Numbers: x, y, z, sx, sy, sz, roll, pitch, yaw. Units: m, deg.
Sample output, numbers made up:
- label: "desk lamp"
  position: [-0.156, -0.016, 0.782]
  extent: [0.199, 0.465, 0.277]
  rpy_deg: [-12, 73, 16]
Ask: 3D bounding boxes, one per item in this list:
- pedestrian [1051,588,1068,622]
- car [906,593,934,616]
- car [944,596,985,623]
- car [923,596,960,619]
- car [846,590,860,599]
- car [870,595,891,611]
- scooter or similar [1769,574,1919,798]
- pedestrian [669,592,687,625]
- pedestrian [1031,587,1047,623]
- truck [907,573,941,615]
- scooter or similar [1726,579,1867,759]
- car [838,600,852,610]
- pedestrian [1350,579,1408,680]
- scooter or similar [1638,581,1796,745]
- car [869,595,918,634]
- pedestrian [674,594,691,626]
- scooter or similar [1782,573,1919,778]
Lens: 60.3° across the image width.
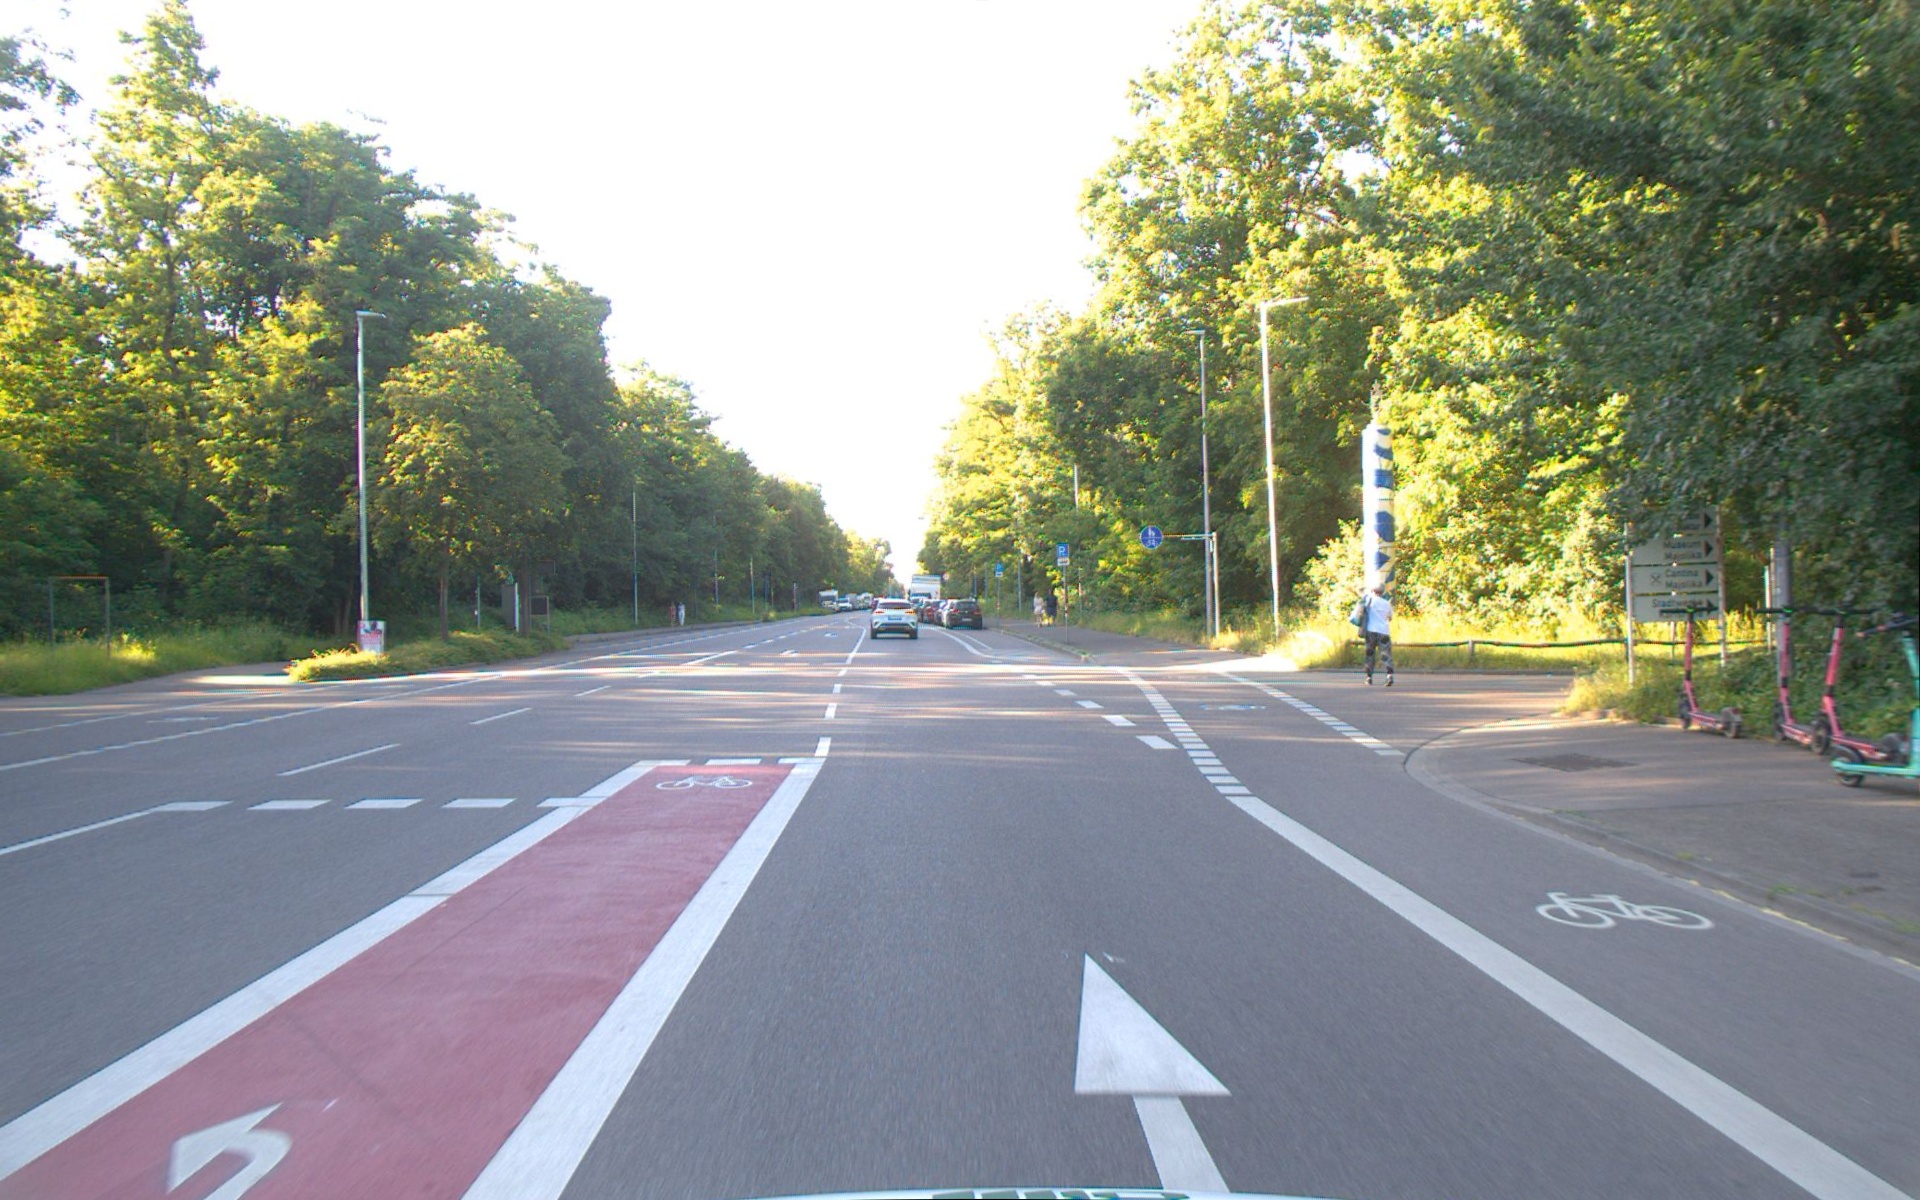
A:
- label: "pedestrian"
  position: [4.814, 0.227, 79.842]
  extent: [0.728, 1.627, 0.797]
  rpy_deg: [-1, 0, -2]
- label: "car"
  position: [-2.854, 0.304, 117.695]
  extent: [1.953, 1.583, 3.999]
  rpy_deg: [-1, 0, -2]
- label: "car"
  position: [0.207, 0.480, 85.815]
  extent: [1.953, 1.350, 3.999]
  rpy_deg: [-1, 0, -2]
- label: "car"
  position: [-1.141, 0.453, 101.484]
  extent: [1.954, 1.350, 3.996]
  rpy_deg: [-1, 0, -5]
- label: "car"
  position: [-16.498, -0.885, 254.853]
  extent: [1.954, 1.350, 3.998]
  rpy_deg: [-1, 0, -3]
- label: "car"
  position: [-7.850, 0.309, 163.594]
  extent: [1.953, 1.545, 3.999]
  rpy_deg: [-1, 0, -1]
- label: "scooter or similar"
  position: [6.398, 0.552, 11.218]
  extent: [0.671, 1.448, 1.674]
  rpy_deg: [-1, 0, -16]
- label: "pedestrian"
  position: [-17.886, 0.537, 104.987]
  extent: [0.846, 2.049, 1.269]
  rpy_deg: [-1, 0, 0]
- label: "pedestrian"
  position: [3.811, 0.246, 79.787]
  extent: [0.684, 1.682, 0.876]
  rpy_deg: [-1, 0, -2]
- label: "truck"
  position: [-3.186, -0.525, 145.202]
  extent: [2.743, 3.632, 8.030]
  rpy_deg: [0, 0, -3]
- label: "scooter or similar"
  position: [7.081, 0.557, 14.056]
  extent: [0.667, 1.448, 1.246]
  rpy_deg: [-1, 0, 7]
- label: "car"
  position: [-16.103, 0.705, 231.718]
  extent: [1.954, 1.350, 3.998]
  rpy_deg: [-1, 0, -3]
- label: "pedestrian"
  position: [6.759, 0.471, 26.701]
  extent: [0.739, 1.591, 0.803]
  rpy_deg: [-1, 0, 3]
- label: "scooter or similar"
  position: [7.100, 0.559, 15.596]
  extent: [0.668, 1.448, 1.681]
  rpy_deg: [-1, 0, -1]
- label: "car"
  position: [-2.612, 0.543, 64.222]
  extent: [1.727, 1.485, 3.814]
  rpy_deg: [1, 0, -5]
- label: "pedestrian"
  position: [-17.637, 0.628, 104.988]
  extent: [0.814, 2.049, 1.269]
  rpy_deg: [-1, 0, 0]
- label: "scooter or similar"
  position: [7.006, 0.526, 12.541]
  extent: [0.668, 1.448, 1.681]
  rpy_deg: [-1, 0, -1]
